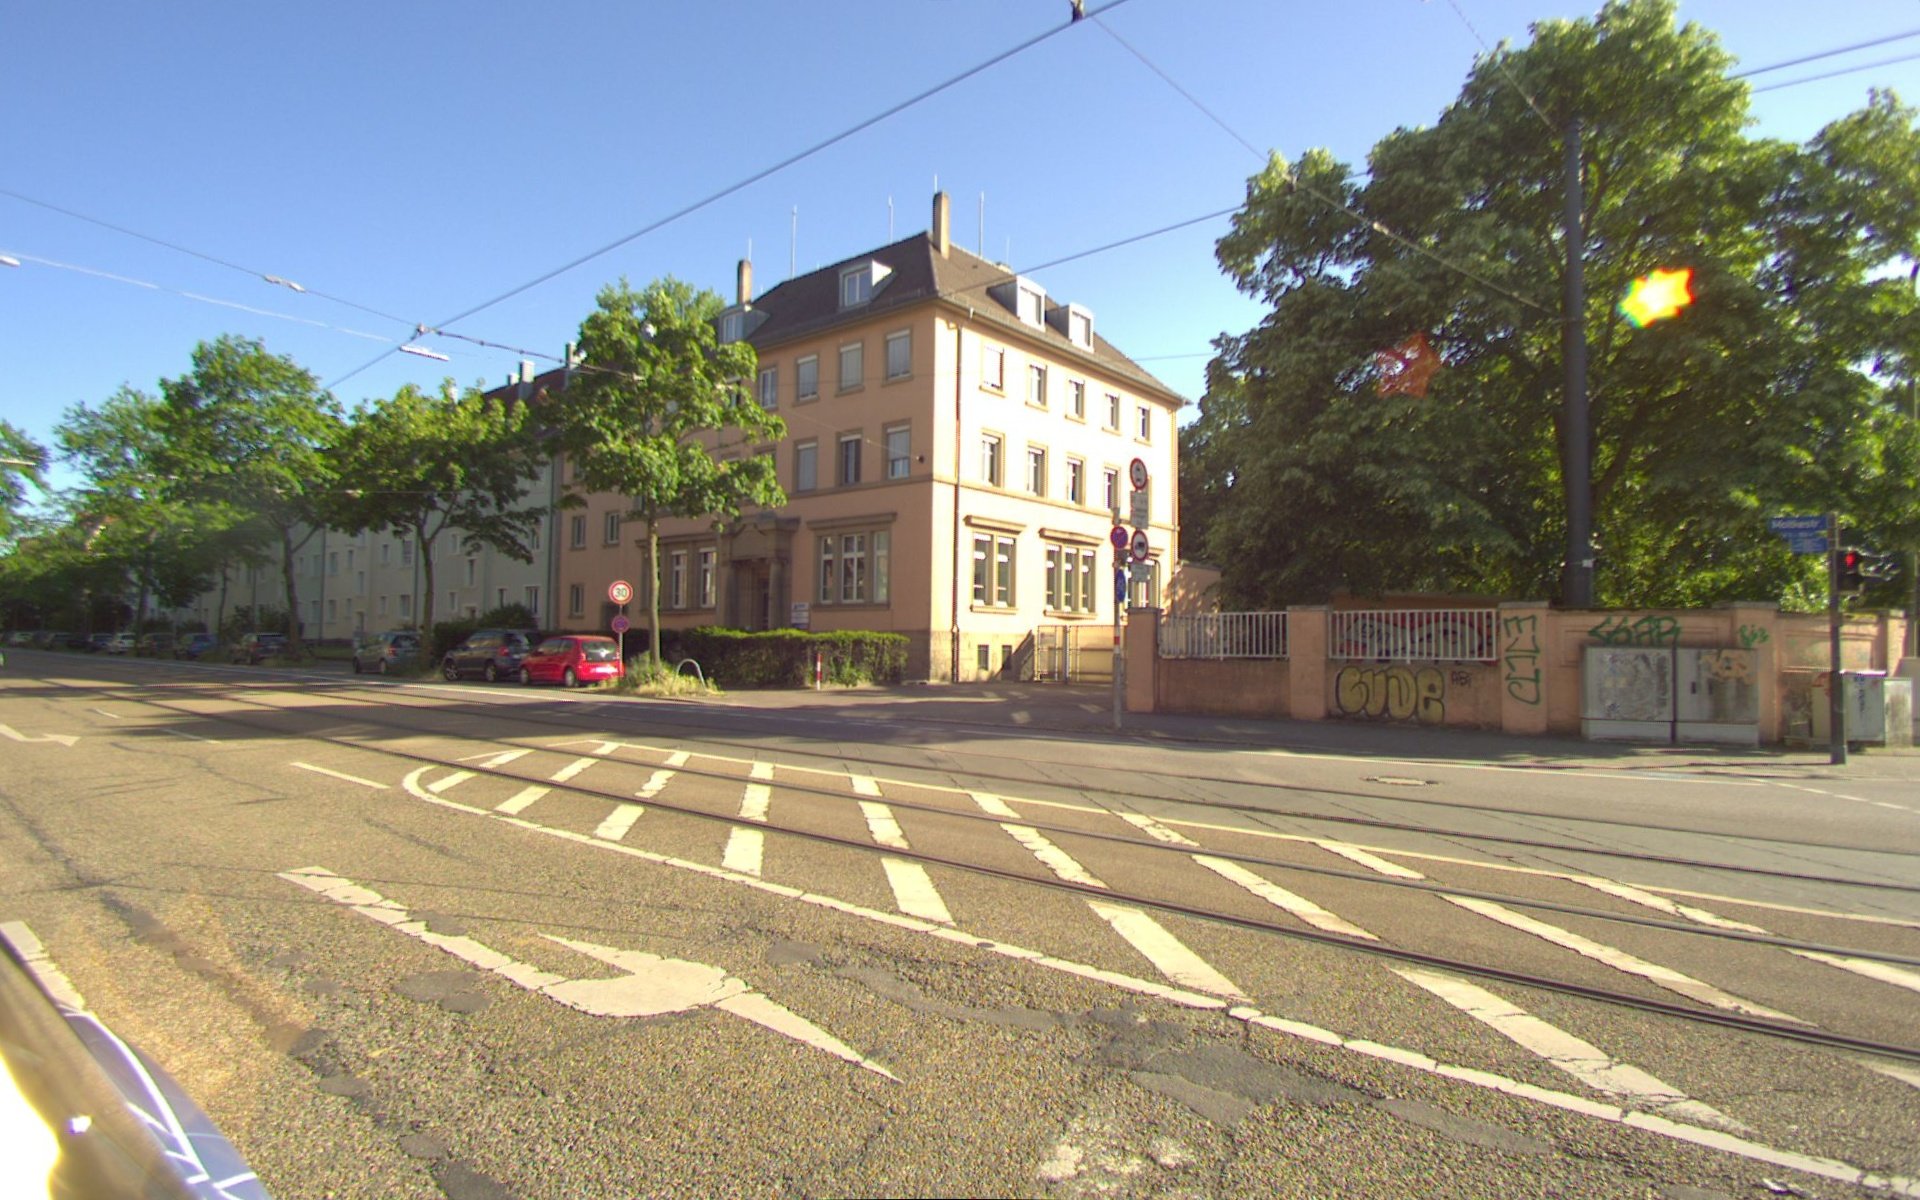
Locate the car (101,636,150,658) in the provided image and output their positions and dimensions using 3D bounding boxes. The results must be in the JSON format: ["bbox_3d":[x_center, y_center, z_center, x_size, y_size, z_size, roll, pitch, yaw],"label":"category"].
[{"bbox_3d":[-56.700,3.181,68.755,3.626,1.430,1.793,-2,-4,39],"label":"car"}]

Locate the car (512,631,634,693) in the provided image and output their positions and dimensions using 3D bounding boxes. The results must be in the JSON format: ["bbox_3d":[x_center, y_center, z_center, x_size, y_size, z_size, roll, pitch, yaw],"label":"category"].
[{"bbox_3d":[-11.321,1.789,29.601,3.369,1.719,1.794,-1,-4,37],"label":"car"}]

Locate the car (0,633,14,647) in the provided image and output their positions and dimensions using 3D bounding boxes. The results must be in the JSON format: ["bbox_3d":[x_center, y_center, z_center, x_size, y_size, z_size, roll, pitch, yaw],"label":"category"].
[{"bbox_3d":[-102.947,4.256,108.371,3.626,1.535,1.793,-2,-4,39],"label":"car"}]

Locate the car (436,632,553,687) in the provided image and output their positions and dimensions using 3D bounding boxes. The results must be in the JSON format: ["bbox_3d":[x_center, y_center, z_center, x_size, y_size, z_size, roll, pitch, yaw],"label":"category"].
[{"bbox_3d":[-14.949,1.872,32.441,3.813,1.671,1.794,-1,-4,37],"label":"car"}]

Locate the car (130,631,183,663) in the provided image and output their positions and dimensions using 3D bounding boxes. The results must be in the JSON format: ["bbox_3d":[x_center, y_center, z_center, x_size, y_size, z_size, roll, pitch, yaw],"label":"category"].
[{"bbox_3d":[-49.686,2.900,62.573,3.626,1.955,1.793,-2,-4,39],"label":"car"}]

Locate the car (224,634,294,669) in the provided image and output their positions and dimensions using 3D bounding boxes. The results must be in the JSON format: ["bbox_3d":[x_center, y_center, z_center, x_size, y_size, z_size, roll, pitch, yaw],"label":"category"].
[{"bbox_3d":[-33.854,2.487,48.846,3.626,1.611,1.793,-2,-4,39],"label":"car"}]

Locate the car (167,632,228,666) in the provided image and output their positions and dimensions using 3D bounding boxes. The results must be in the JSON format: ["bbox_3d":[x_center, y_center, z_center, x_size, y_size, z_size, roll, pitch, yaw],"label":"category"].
[{"bbox_3d":[-42.757,2.711,56.721,3.791,1.839,1.793,-2,-4,39],"label":"car"}]

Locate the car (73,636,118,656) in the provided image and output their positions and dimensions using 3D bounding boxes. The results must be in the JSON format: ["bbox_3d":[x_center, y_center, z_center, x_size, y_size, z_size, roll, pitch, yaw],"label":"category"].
[{"bbox_3d":[-63.587,3.395,74.422,3.626,1.430,1.793,-2,-4,39],"label":"car"}]

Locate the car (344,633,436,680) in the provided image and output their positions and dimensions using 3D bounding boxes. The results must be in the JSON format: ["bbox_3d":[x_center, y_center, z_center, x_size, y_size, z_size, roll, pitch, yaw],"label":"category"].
[{"bbox_3d":[-21.574,2.118,38.236,3.874,1.671,1.792,-2,-4,41],"label":"car"}]

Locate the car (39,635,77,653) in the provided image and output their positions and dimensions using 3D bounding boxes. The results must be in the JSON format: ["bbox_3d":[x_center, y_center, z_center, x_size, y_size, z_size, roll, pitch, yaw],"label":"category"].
[{"bbox_3d":[-76.320,3.709,85.596,3.626,1.430,1.793,-2,-4,39],"label":"car"}]

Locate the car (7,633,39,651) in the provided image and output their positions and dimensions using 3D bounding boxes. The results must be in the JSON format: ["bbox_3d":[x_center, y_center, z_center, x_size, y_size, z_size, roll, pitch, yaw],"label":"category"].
[{"bbox_3d":[-93.735,4.197,101.255,3.626,1.792,1.793,-2,-4,39],"label":"car"}]
